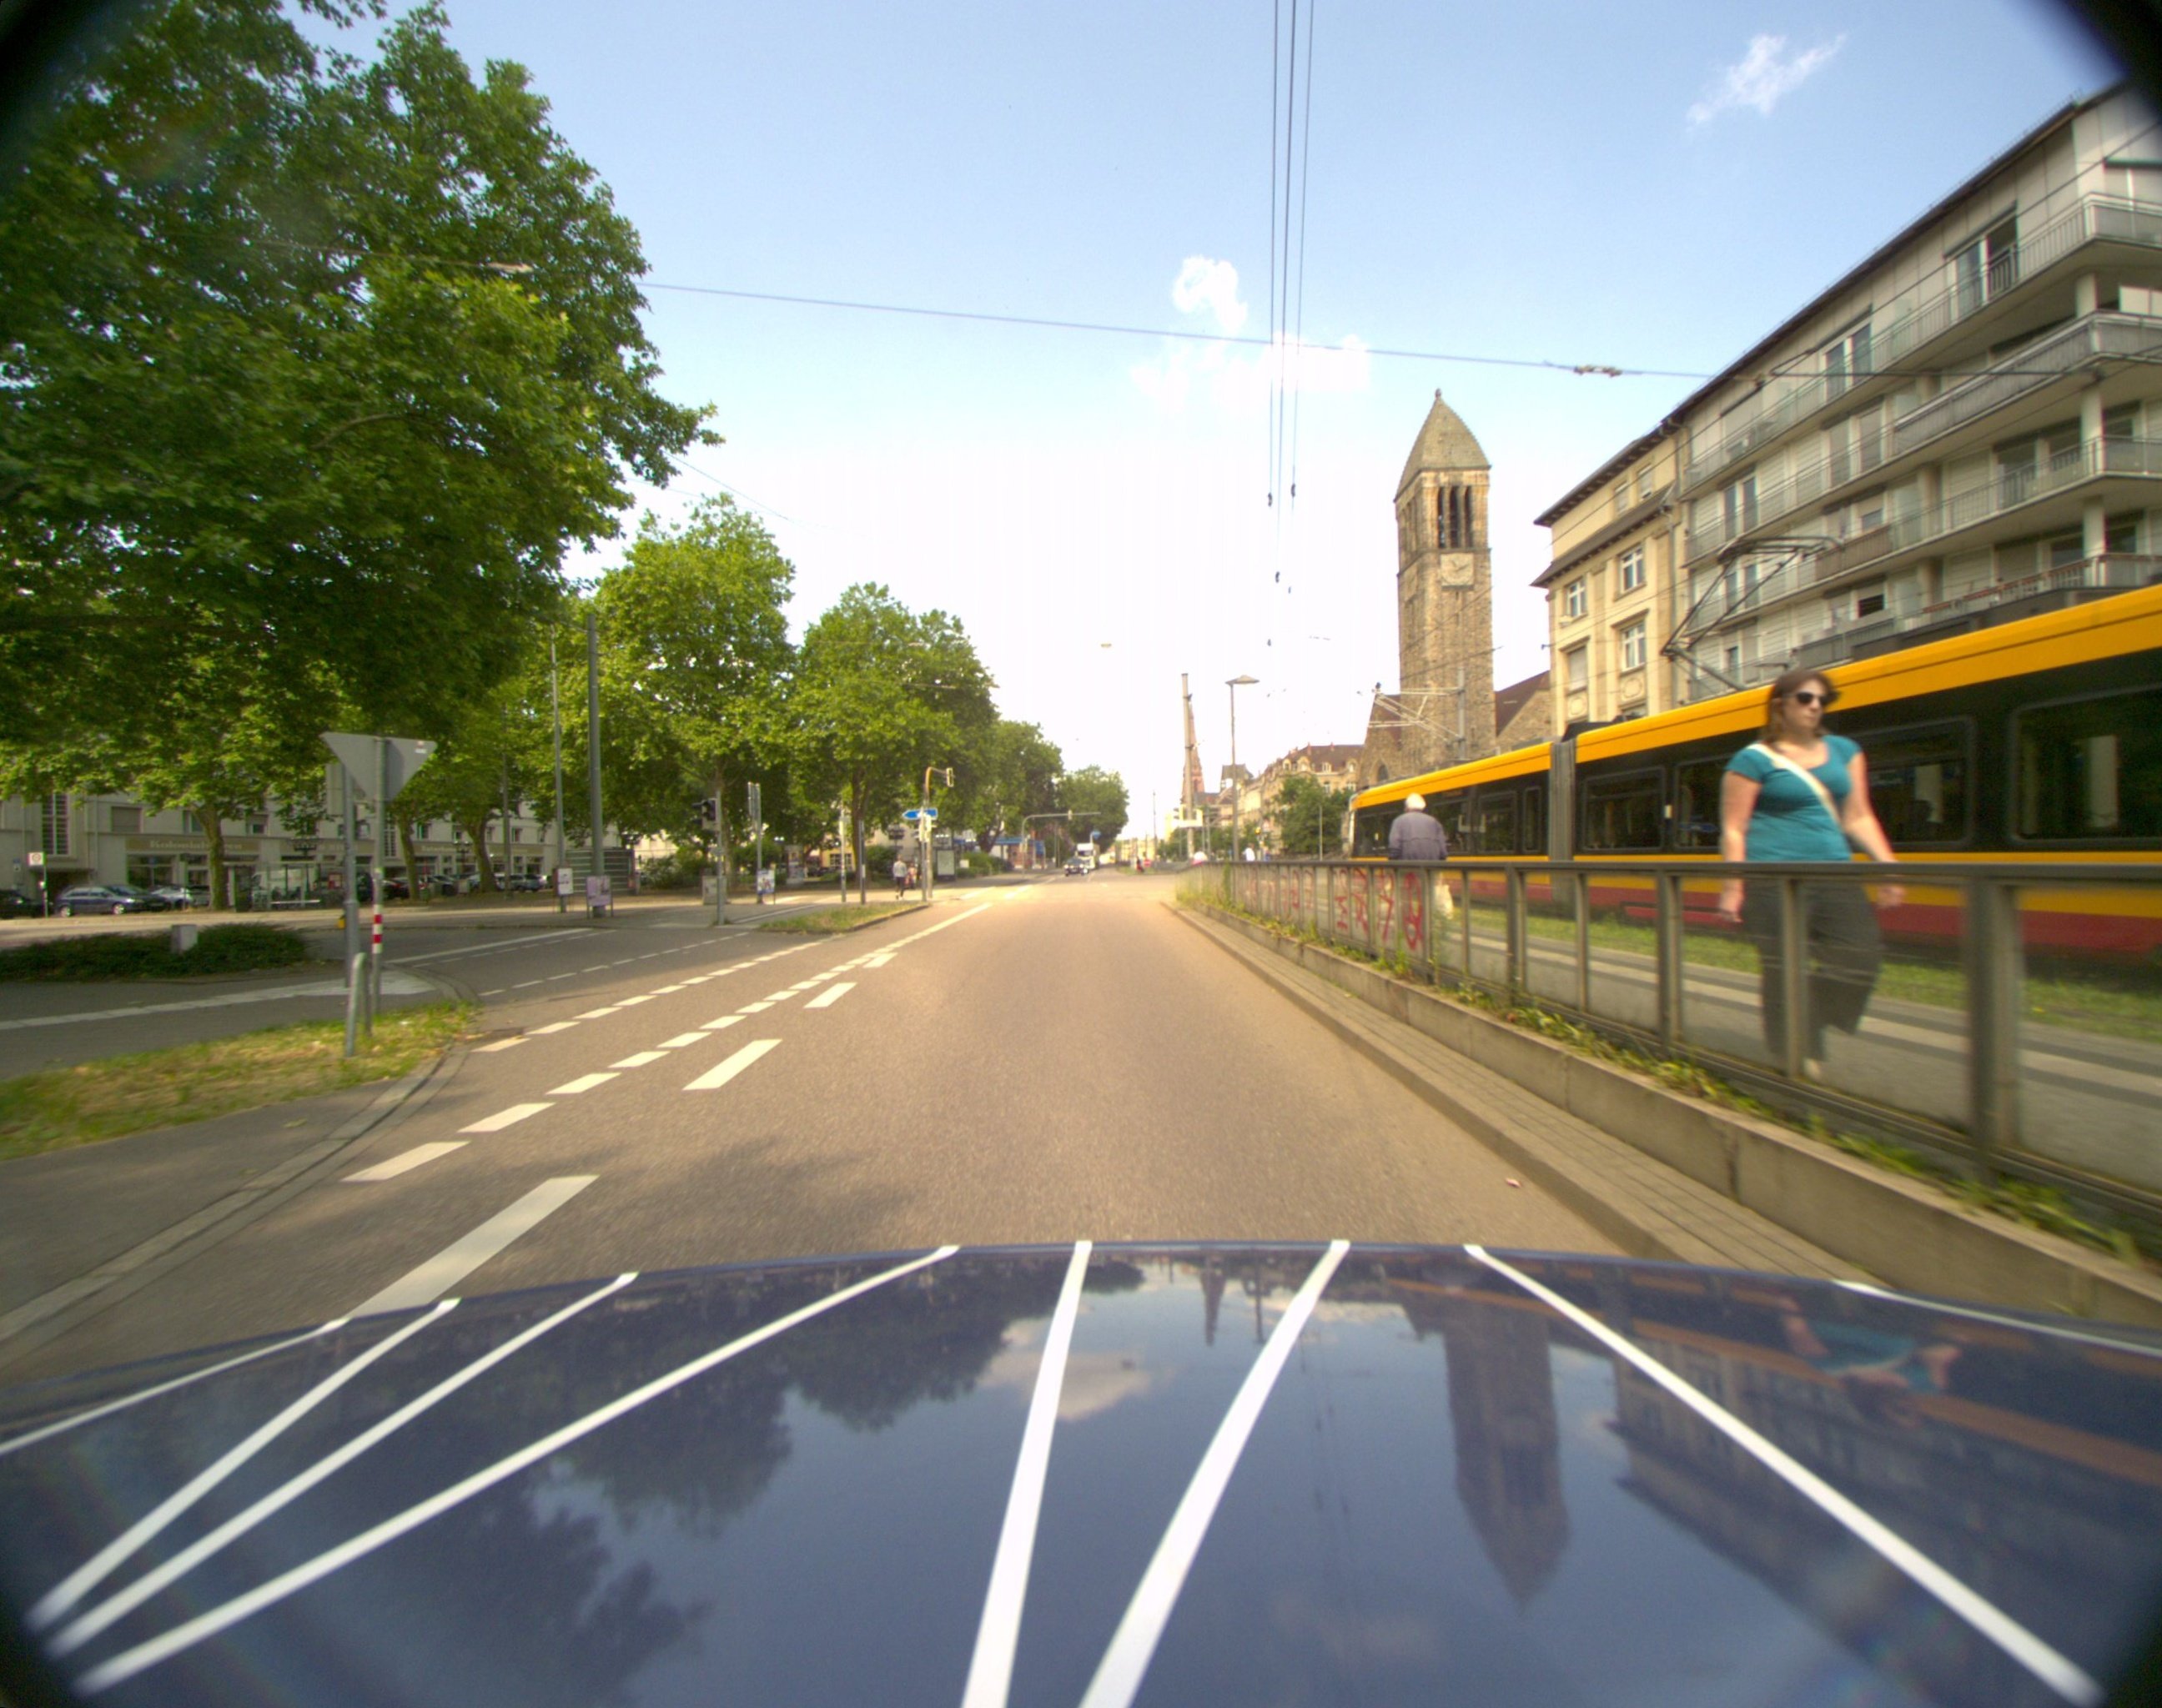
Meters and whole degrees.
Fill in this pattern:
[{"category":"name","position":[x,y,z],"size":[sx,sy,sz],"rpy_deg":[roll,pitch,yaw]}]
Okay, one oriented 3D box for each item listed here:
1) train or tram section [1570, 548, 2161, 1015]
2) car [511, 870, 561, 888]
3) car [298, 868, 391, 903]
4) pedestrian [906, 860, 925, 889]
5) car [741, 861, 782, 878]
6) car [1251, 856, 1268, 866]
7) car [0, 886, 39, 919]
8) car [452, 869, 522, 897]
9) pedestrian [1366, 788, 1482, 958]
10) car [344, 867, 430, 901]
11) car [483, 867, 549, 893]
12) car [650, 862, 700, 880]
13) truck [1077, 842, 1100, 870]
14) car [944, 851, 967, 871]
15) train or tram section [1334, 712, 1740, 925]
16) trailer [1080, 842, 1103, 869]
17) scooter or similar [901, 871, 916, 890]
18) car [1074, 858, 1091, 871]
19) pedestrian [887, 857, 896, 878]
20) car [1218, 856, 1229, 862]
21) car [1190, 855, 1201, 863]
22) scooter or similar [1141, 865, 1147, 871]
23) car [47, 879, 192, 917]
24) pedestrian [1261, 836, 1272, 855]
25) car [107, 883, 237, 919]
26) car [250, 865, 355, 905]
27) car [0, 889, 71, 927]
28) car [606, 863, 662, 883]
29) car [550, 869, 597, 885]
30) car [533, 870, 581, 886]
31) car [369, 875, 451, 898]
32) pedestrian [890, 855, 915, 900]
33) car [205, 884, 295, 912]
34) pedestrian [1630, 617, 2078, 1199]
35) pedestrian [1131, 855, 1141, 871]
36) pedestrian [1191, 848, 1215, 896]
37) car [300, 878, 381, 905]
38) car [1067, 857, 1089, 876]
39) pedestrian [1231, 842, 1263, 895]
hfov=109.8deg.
[{"category":"train or tram section","position":[9.715,-0.593,7.811],"size":[2.802,3.563,10.404],"rpy_deg":[-2,0,1]},{"category":"car","position":[-56.930,2.601,79.448],"size":[3.996,1.627,1.745],"rpy_deg":[-2,0,3]},{"category":"car","position":[-47.178,2.019,48.756],"size":[3.996,2.064,2.000],"rpy_deg":[-2,0,2]},{"category":"pedestrian","position":[-9.631,1.188,44.225],"size":[0.569,1.636,0.924],"rpy_deg":[-1,0,22]},{"category":"car","position":[-37.500,1.851,89.231],"size":[3.996,1.789,1.870],"rpy_deg":[-2,0,3]},{"category":"car","position":[27.518,1.043,116.964],"size":[1.788,1.486,3.838],"rpy_deg":[-2,-1,2]},{"category":"car","position":[-58.556,2.634,40.768],"size":[3.065,1.656,1.470],"rpy_deg":[-2,0,-3]},{"category":"car","position":[-47.681,2.303,61.054],"size":[3.996,2.002,2.000],"rpy_deg":[-2,0,3]},{"category":"pedestrian","position":[3.778,0.198,8.448],"size":[0.859,1.764,0.876],"rpy_deg":[-2,1,2]},{"category":"car","position":[-46.737,1.997,51.225],"size":[3.996,2.064,2.000],"rpy_deg":[-2,0,2]},{"category":"car","position":[-47.212,2.170,63.538],"size":[3.997,2.002,2.000],"rpy_deg":[-2,0,0]},{"category":"car","position":[-45.851,1.923,85.789],"size":[4.486,1.894,2.104],"rpy_deg":[-2,0,3]},{"category":"truck","position":[1.200,0.258,116.895],"size":[2.914,4.125,6.592],"rpy_deg":[-2,0,4]},{"category":"car","position":[-16.415,0.895,99.909],"size":[2.111,2.406,4.000],"rpy_deg":[-2,0,3]},{"category":"train or tram section","position":[9.998,-0.608,19.556],"size":[2.814,3.563,13.017],"rpy_deg":[-2,0,1]},{"category":"trailer","position":[1.778,0.217,124.534],"size":[2.914,4.054,11.654],"rpy_deg":[-2,0,5]},{"category":"scooter or similar","position":[-9.876,1.509,43.454],"size":[0.489,1.050,0.709],"rpy_deg":[-1,0,22]},{"category":"car","position":[0.208,1.174,85.928],"size":[1.733,1.457,4.328],"rpy_deg":[-1,0,2]},{"category":"pedestrian","position":[-15.671,1.110,62.900],"size":[0.606,1.740,0.697],"rpy_deg":[-2,0,-22]},{"category":"car","position":[28.762,1.062,153.555],"size":[1.654,1.226,3.064],"rpy_deg":[-2,-1,2]},{"category":"car","position":[24.447,1.040,162.237],"size":[1.818,1.497,4.132],"rpy_deg":[-2,-1,4]},{"category":"scooter or similar","position":[5.701,1.296,68.868],"size":[0.521,0.532,0.310],"rpy_deg":[0,0,-11]},{"category":"car","position":[-47.730,2.174,37.788],"size":[4.535,1.591,2.034],"rpy_deg":[-2,0,0]},{"category":"pedestrian","position":[16.603,-0.770,67.915],"size":[0.771,1.721,0.744],"rpy_deg":[-1,0,1]},{"category":"car","position":[-48.338,2.477,40.489],"size":[4.535,1.680,1.911],"rpy_deg":[-2,0,0]},{"category":"car","position":[-46.986,1.847,45.917],"size":[4.253,2.170,2.000],"rpy_deg":[-2,0,2]},{"category":"car","position":[-51.832,2.618,36.223],"size":[1.792,1.651,4.313],"rpy_deg":[-1,0,-7]},{"category":"car","position":[-46.348,1.959,78.871],"size":[4.486,1.894,2.104],"rpy_deg":[-2,0,3]},{"category":"car","position":[-56.861,2.583,85.173],"size":[3.996,1.627,1.745],"rpy_deg":[-2,0,3]},{"category":"car","position":[-56.816,2.589,82.353],"size":[3.996,1.627,1.745],"rpy_deg":[-2,0,3]},{"category":"car","position":[-47.211,2.298,53.498],"size":[3.996,1.414,2.000],"rpy_deg":[-2,0,2]},{"category":"pedestrian","position":[-7.122,0.927,30.287],"size":[0.694,1.773,0.887],"rpy_deg":[-2,0,4]},{"category":"car","position":[-47.075,2.461,43.094],"size":[3.235,1.381,1.469],"rpy_deg":[-2,0,-5]},{"category":"pedestrian","position":[2.846,0.185,2.918],"size":[0.829,1.888,0.846],"rpy_deg":[-2,1,2]},{"category":"pedestrian","position":[4.974,0.817,68.494],"size":[0.776,1.483,0.658],"rpy_deg":[0,0,-10]},{"category":"pedestrian","position":[4.270,0.632,26.593],"size":[0.624,1.656,0.677],"rpy_deg":[-2,0,27]},{"category":"car","position":[-42.846,2.145,44.028],"size":[3.066,1.381,1.469],"rpy_deg":[-2,0,-7]},{"category":"car","position":[-0.281,1.188,74.037],"size":[1.853,1.716,4.420],"rpy_deg":[-1,0,3]},{"category":"pedestrian","position":[5.709,0.497,26.141],"size":[0.850,1.770,1.045],"rpy_deg":[-2,0,2]}]
